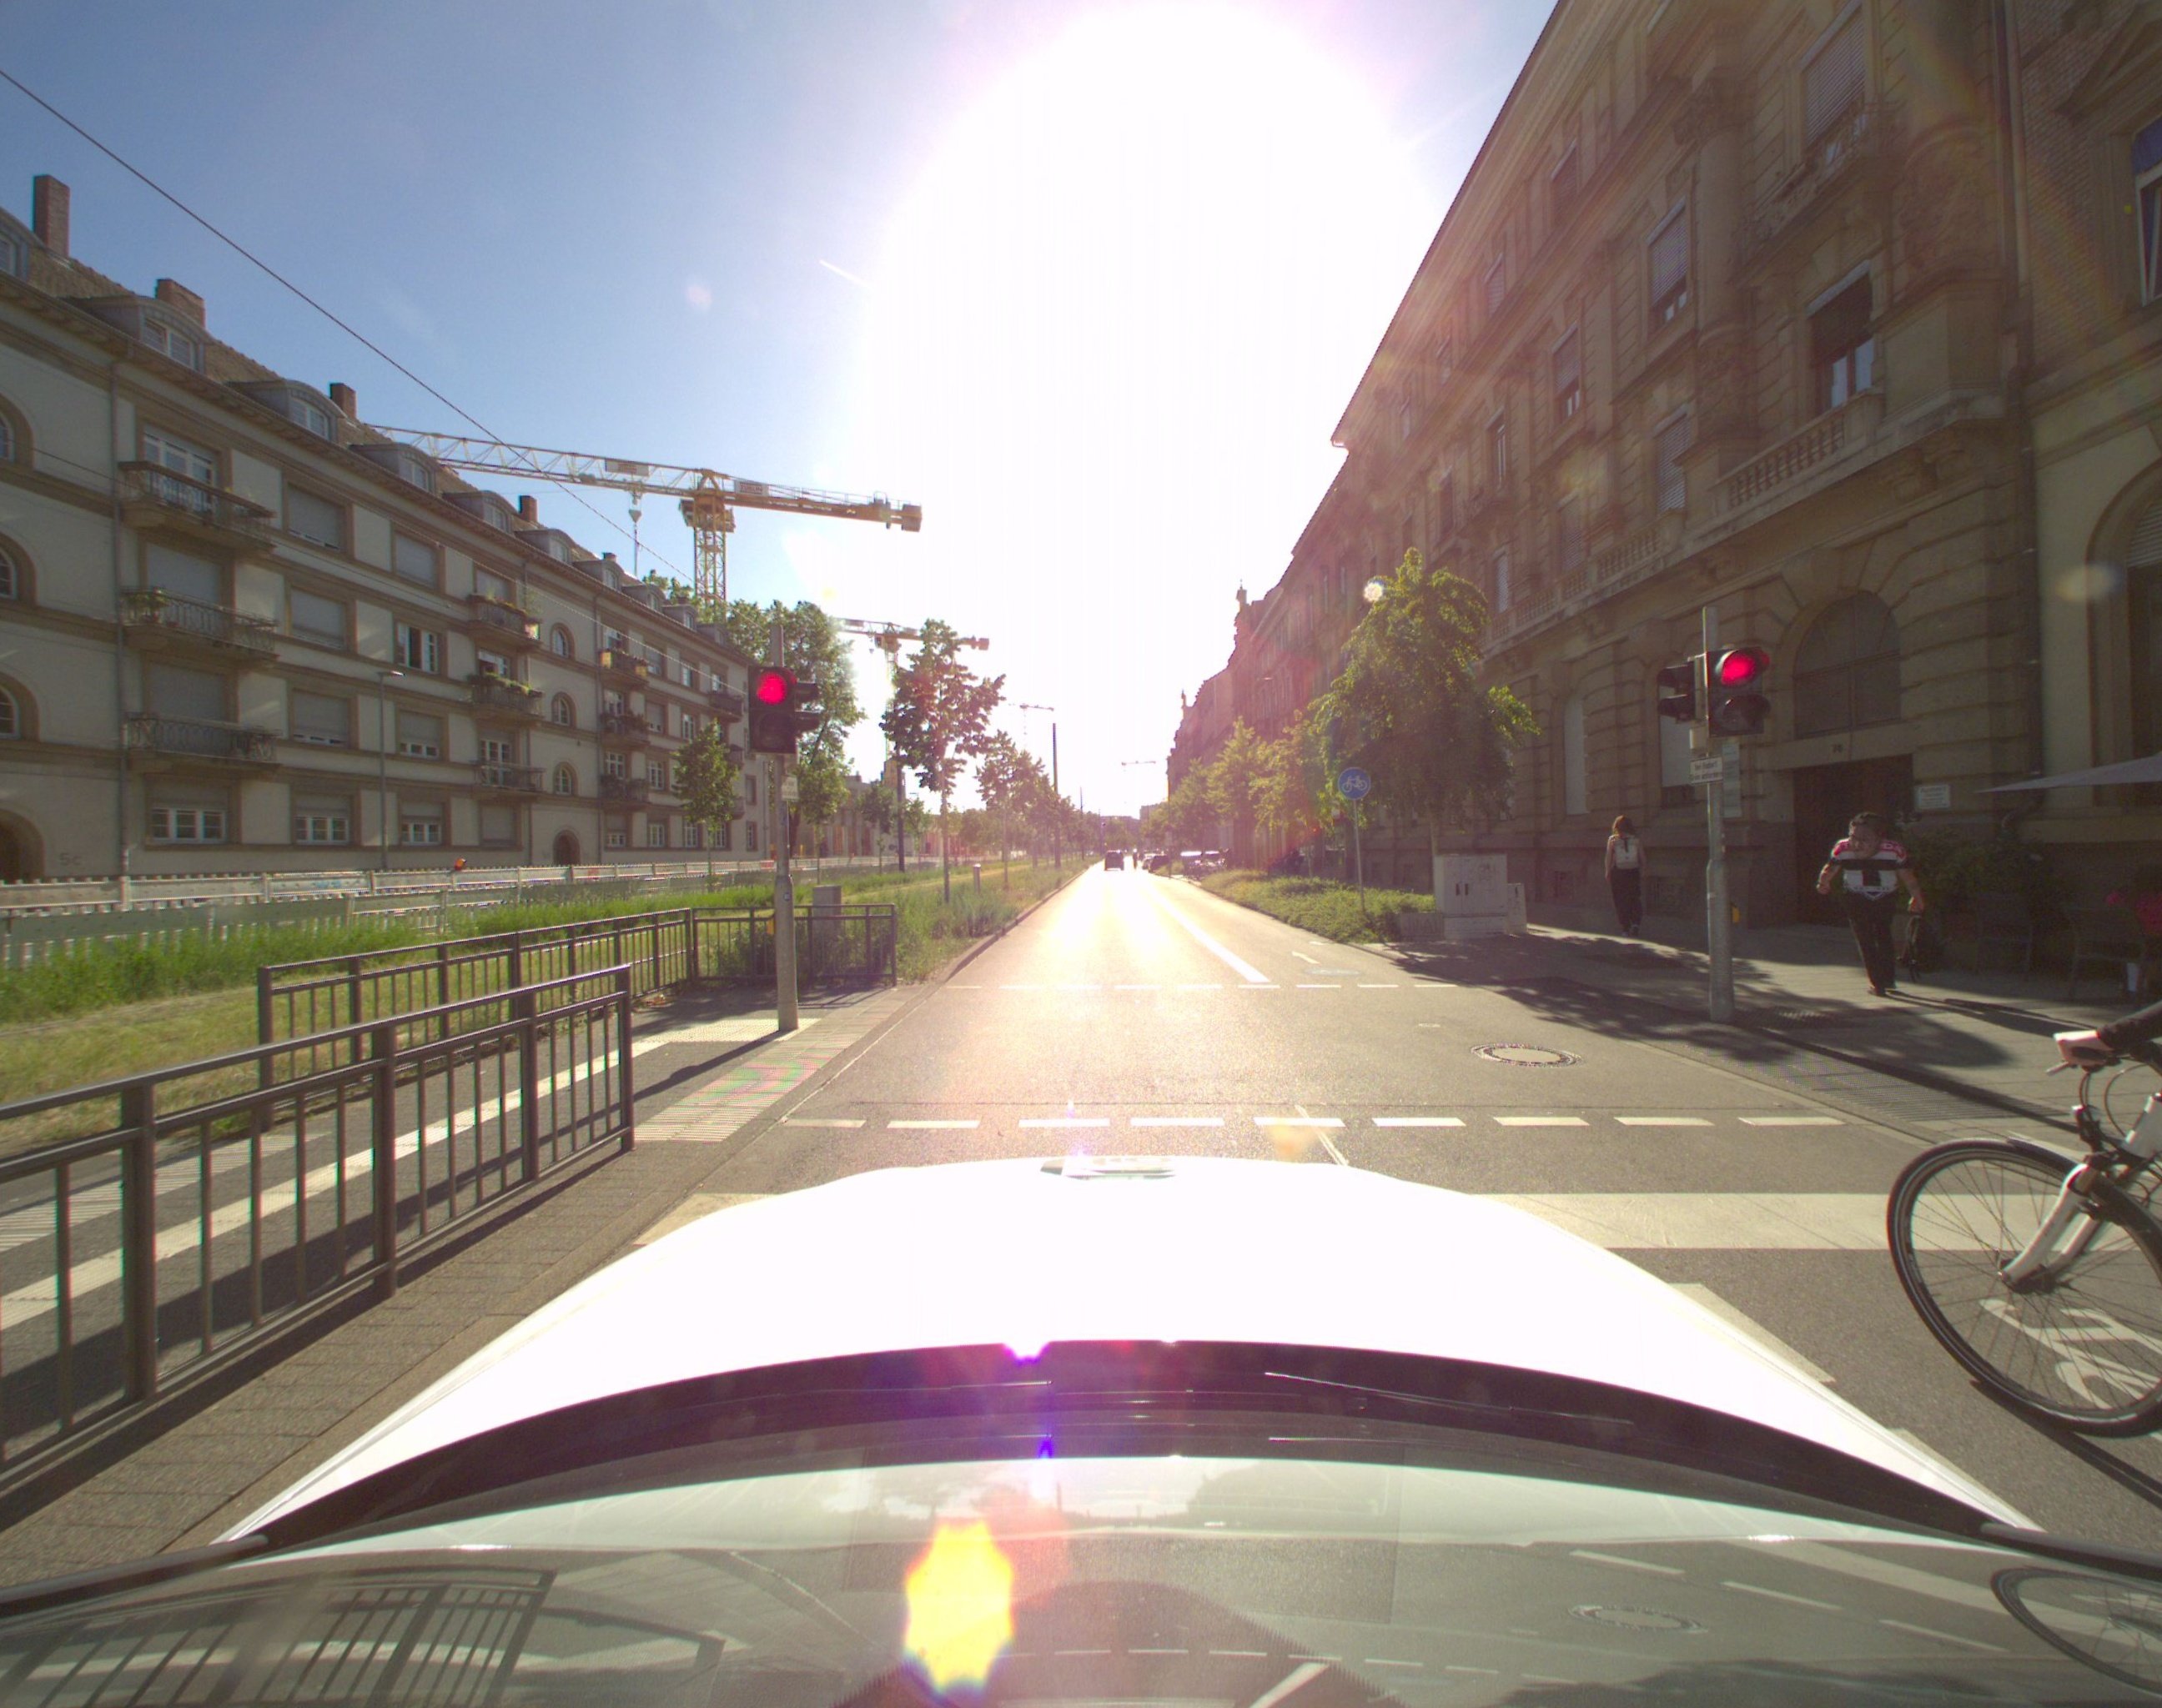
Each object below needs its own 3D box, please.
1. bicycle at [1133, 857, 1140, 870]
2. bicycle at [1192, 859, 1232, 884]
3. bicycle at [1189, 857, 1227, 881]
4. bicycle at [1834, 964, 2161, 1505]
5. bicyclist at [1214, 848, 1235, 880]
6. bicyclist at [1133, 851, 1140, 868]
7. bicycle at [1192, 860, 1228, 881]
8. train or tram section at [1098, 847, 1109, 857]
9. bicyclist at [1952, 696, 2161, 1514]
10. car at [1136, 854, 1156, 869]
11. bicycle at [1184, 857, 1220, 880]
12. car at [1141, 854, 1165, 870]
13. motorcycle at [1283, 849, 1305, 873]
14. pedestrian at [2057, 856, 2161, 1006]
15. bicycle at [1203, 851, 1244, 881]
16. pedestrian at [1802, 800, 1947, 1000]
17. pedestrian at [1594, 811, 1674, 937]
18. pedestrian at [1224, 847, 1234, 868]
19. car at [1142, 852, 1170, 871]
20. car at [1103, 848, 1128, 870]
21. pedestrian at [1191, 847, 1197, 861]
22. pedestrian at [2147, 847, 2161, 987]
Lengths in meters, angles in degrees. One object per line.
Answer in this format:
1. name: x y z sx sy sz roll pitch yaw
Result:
1. bicycle: 5.253 0.902 77.112 0.599 1.181 1.870 0 0 1
2. bicycle: 6.360 0.837 39.656 1.786 1.030 0.528 -6 0 1
3. bicycle: 6.389 0.737 41.031 1.786 1.030 0.528 -6 0 1
4. bicycle: 2.684 0.905 1.727 0.555 1.092 1.793 0 0 1
5. bicyclist: 7.237 0.489 41.058 0.795 1.530 0.662 -6 0 0
6. bicyclist: 5.267 0.510 77.366 0.681 1.673 0.922 0 0 1
7. bicycle: 6.739 0.862 42.565 1.786 1.030 0.528 -2 0 1
8. train or tram section: 6.286 -0.512 224.770 2.744 2.743 9.872 0 -1 3
9. bicyclist: 2.650 0.526 1.686 0.776 1.711 0.869 0 0 1
10. car: 7.333 0.837 92.311 2.020 1.499 4.532 -2 0 2
11. bicycle: 6.495 0.778 43.916 1.786 1.030 0.528 -6 0 1
12. car: 6.989 0.742 79.783 2.020 1.499 4.532 -2 0 2
13. motorcycle: 11.495 0.356 44.035 0.697 1.267 1.983 -2 0 2
14. pedestrian: 9.103 0.627 6.958 0.703 1.178 0.635 -3 0 1
15. bicycle: 7.166 0.591 41.009 1.887 1.330 0.617 -6 0 0
16. pedestrian: 7.709 0.411 7.943 0.959 1.788 0.873 -1 0 44
17. pedestrian: 8.779 0.304 12.969 0.647 1.908 1.082 -2 0 12
18. pedestrian: 11.441 0.244 62.986 0.611 1.611 0.669 -2 0 1
19. car: 6.160 0.585 67.423 2.020 1.499 4.655 -2 0 2
20. car: 3.210 0.447 76.462 2.192 1.926 4.655 -2 0 2
21. pedestrian: 12.861 0.015 92.682 0.611 1.611 0.669 -2 0 1
22. pedestrian: 9.888 0.544 6.943 0.703 1.236 0.635 -3 0 1
